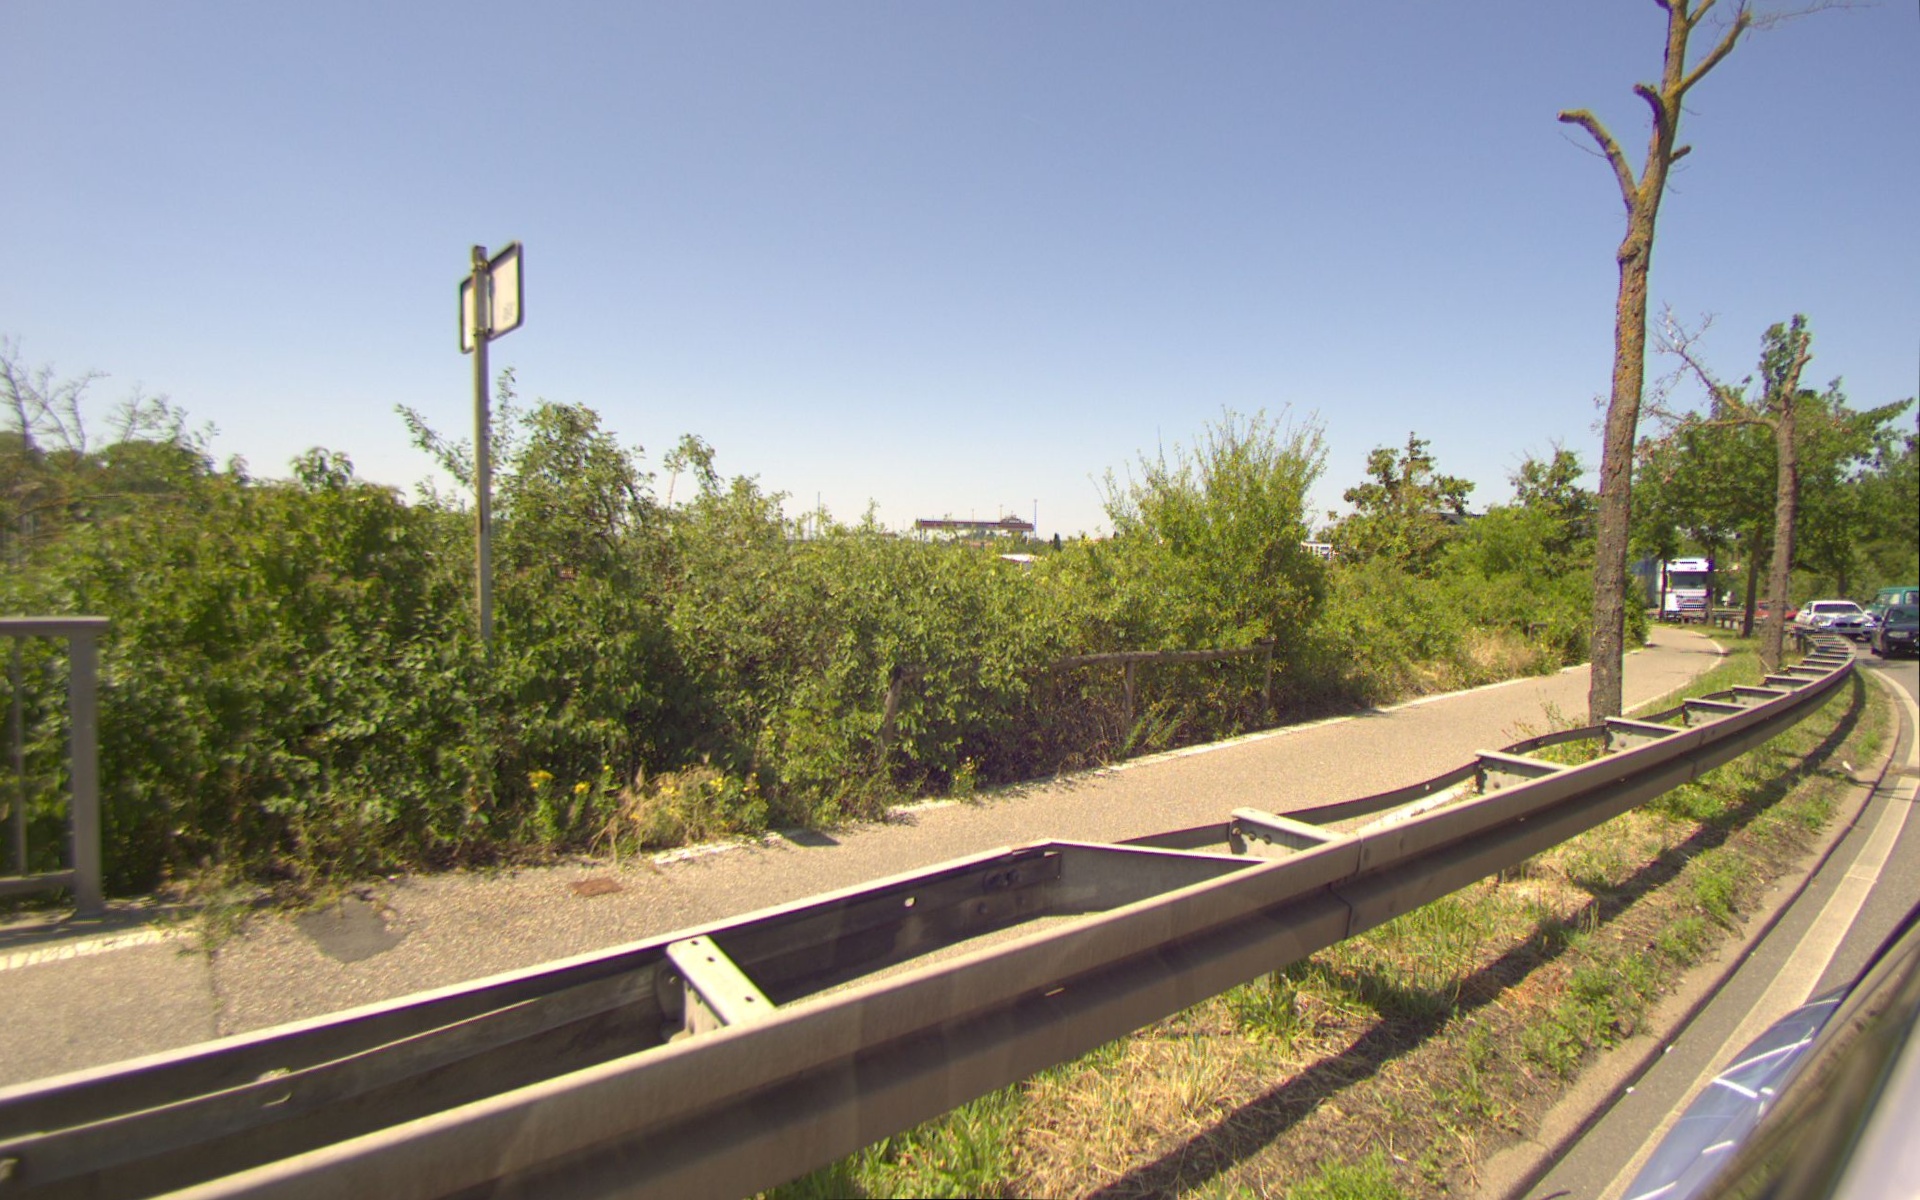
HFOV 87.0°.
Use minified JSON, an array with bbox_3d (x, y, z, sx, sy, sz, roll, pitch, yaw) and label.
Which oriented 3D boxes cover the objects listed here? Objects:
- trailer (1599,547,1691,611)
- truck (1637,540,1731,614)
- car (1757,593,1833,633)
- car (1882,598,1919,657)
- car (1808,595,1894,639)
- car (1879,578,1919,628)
[{"bbox_3d":[49.897,-1.462,74.227,2.850,4.267,13.900,0,0,23],"label":"trailer"},{"bbox_3d":[45.749,-1.400,64.243,2.826,4.323,8.750,0,0,22],"label":"truck"},{"bbox_3d":[38.817,0.561,47.164,1.884,1.675,4.217,0,2,28],"label":"car"},{"bbox_3d":[25.174,0.671,26.235,1.562,1.434,4.065,0,0,38],"label":"car"},{"bbox_3d":[31.562,0.559,35.953,1.805,1.446,3.670,0,0,34],"label":"car"},{"bbox_3d":[39.996,0.111,42.037,1.822,1.963,4.722,0,1,31],"label":"car"}]
